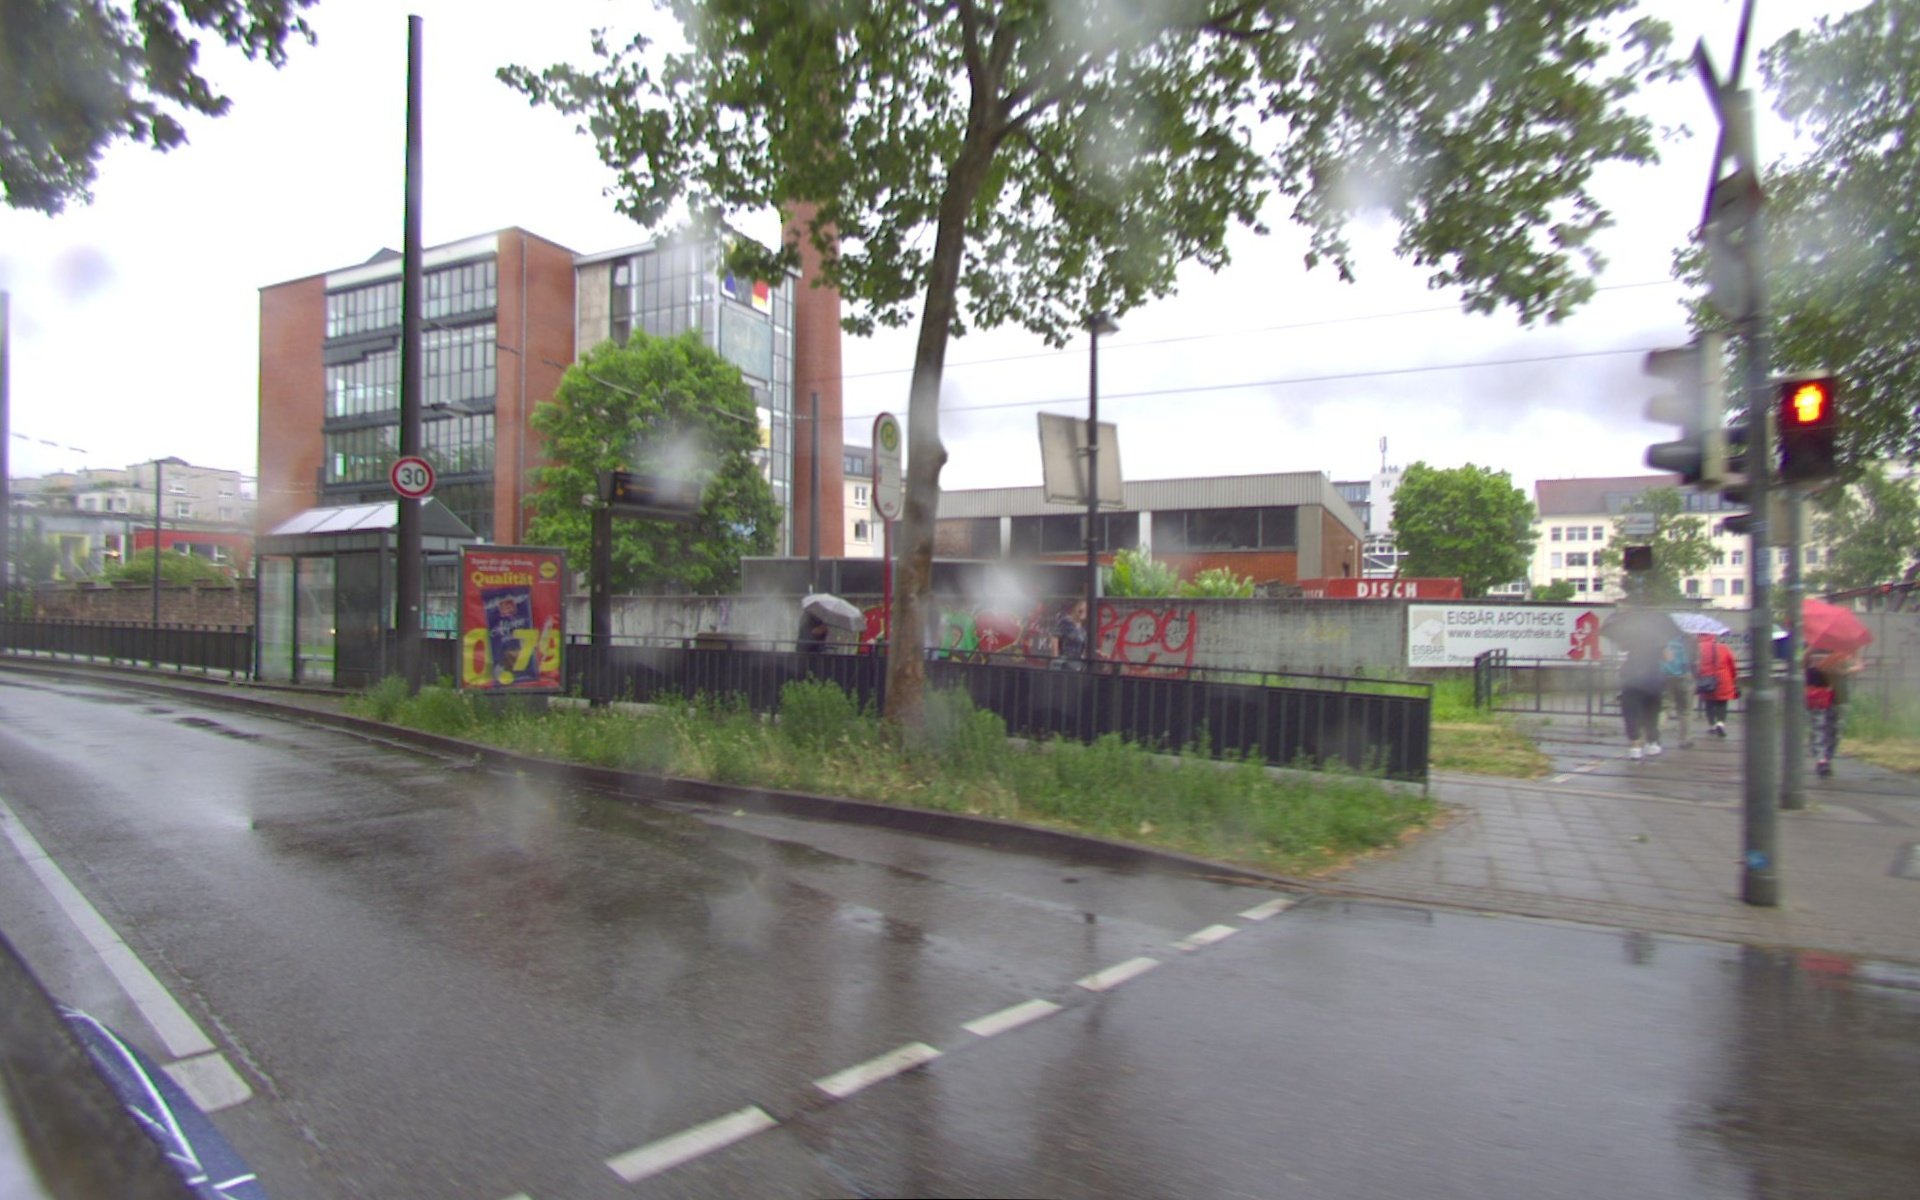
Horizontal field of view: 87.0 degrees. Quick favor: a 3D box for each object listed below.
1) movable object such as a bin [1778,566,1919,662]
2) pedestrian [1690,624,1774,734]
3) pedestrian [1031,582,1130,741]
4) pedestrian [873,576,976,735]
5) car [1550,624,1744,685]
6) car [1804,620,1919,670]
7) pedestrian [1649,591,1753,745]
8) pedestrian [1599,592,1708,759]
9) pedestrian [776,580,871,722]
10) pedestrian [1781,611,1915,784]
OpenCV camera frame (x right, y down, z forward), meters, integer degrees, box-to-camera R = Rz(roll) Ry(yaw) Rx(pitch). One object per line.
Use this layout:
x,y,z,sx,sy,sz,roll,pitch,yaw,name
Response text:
30.543,0.447,31.996,2.727,2.953,6.800,0,-1,-22,movable object such as a bin
11.110,1.109,14.601,0.826,1.516,0.840,-1,-2,30,pedestrian
1.362,0.671,11.408,0.845,1.701,0.852,-1,-2,29,pedestrian
-0.389,0.607,11.434,0.845,1.701,0.852,-1,-2,29,pedestrian
17.152,1.316,25.472,1.812,1.331,3.677,0,0,-19,car
26.810,1.258,28.964,1.811,1.331,3.677,0,0,-25,car
9.490,0.847,13.004,0.952,1.876,0.840,-1,-2,30,pedestrian
8.151,0.860,11.950,0.952,1.876,0.840,-1,-2,30,pedestrian
-1.704,0.624,12.671,0.845,1.701,0.852,-1,-2,29,pedestrian
9.212,0.970,10.549,0.857,1.701,0.840,-1,-2,30,pedestrian
